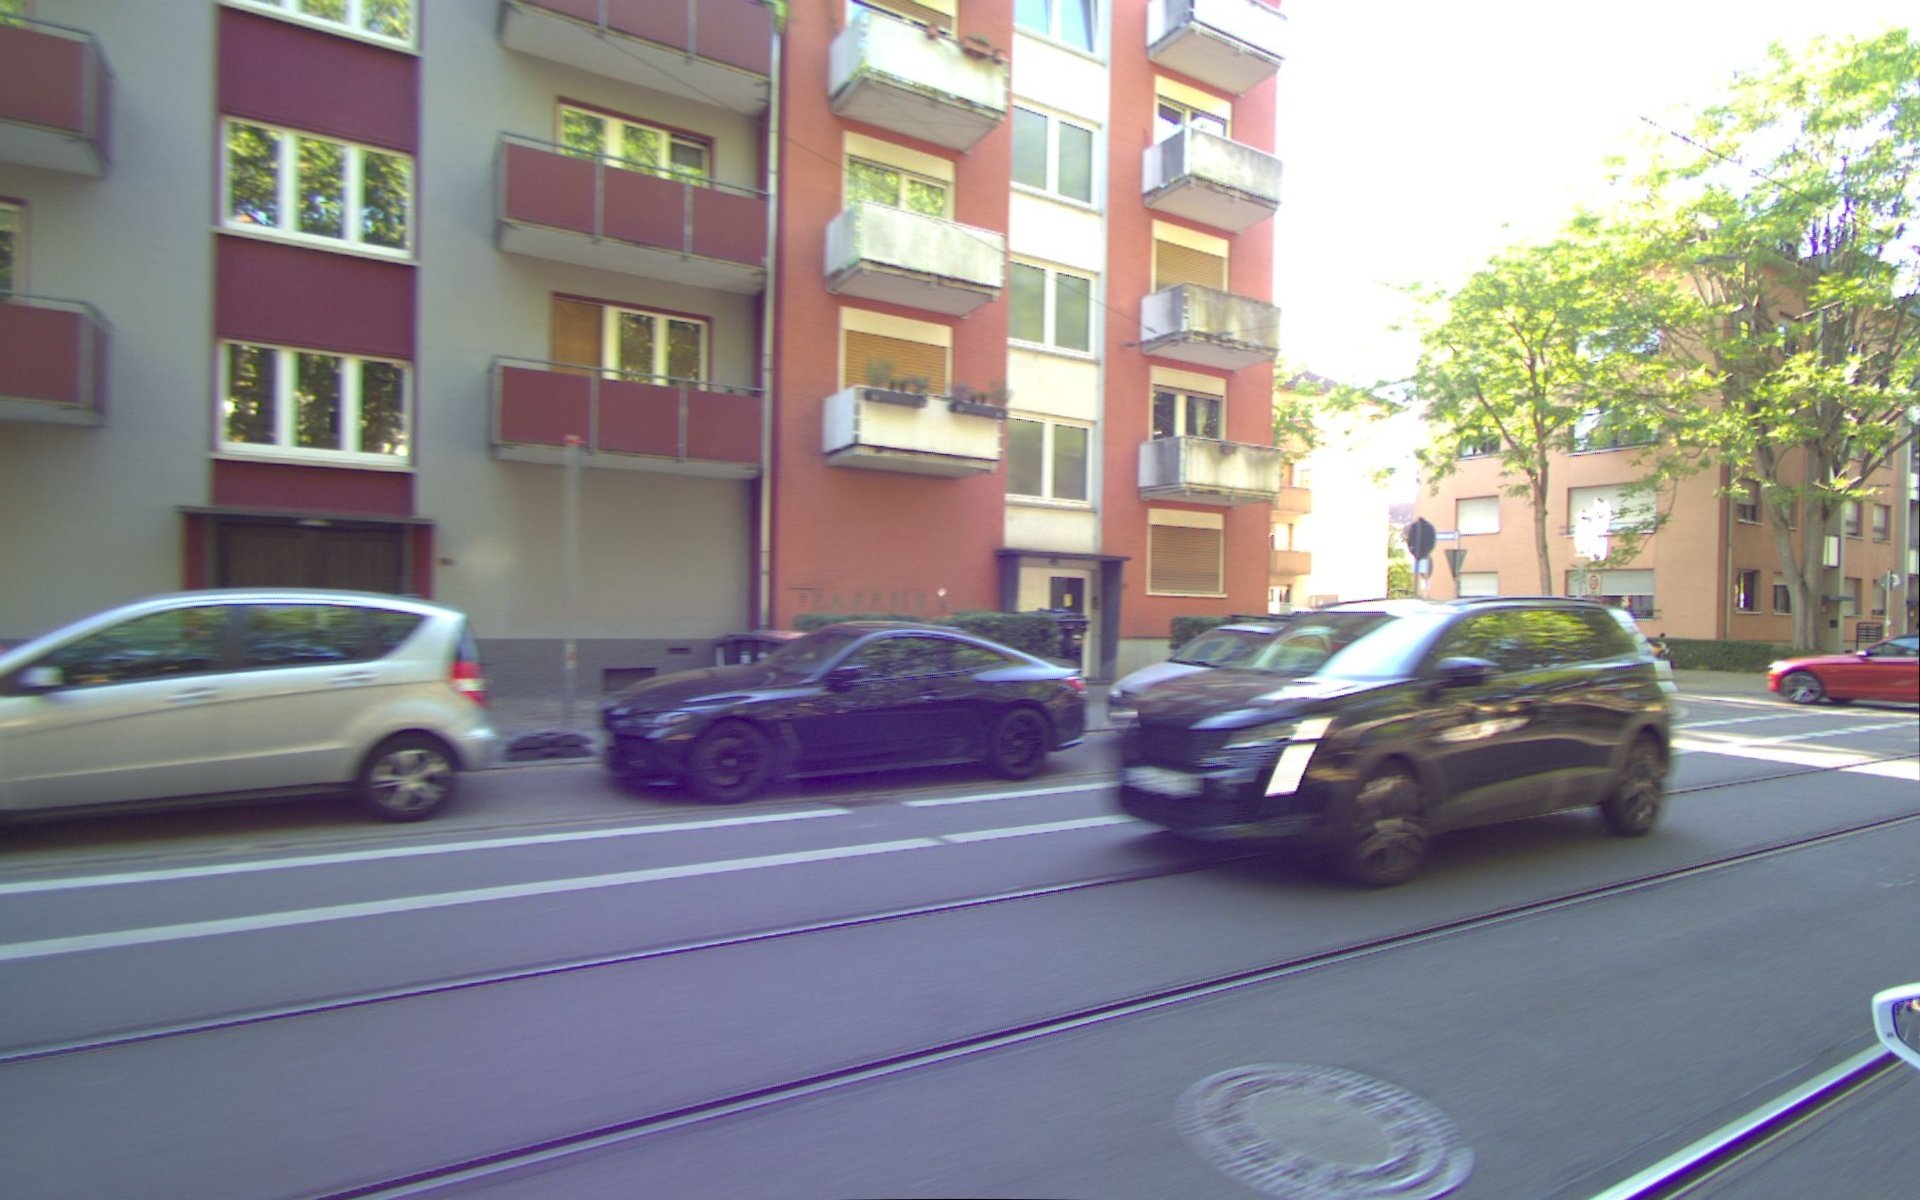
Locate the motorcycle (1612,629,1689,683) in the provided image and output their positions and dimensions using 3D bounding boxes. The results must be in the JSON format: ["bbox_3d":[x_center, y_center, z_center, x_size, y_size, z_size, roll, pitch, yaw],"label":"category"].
[{"bbox_3d":[18.518,1.481,26.909,2.323,1.298,0.897,-1,1,-33],"label":"motorcycle"}]

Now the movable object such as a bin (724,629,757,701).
[{"bbox_3d":[-3.160,0.926,14.445,0.347,1.019,0.398,1,0,-29],"label":"movable object such as a bin"}]

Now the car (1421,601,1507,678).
[{"bbox_3d":[15.710,1.181,31.188,1.965,2.151,4.713,2,0,31],"label":"car"}]

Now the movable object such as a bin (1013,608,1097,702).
[{"bbox_3d":[1.464,0.829,15.632,0.738,1.383,1.206,1,-1,-29],"label":"movable object such as a bin"}]

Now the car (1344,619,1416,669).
[{"bbox_3d":[14.061,1.419,33.548,1.723,1.538,3.608,1,-1,31],"label":"car"}]

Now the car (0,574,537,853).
[{"bbox_3d":[-5.280,0.666,7.113,3.962,1.608,1.809,1,1,-33],"label":"car"}]

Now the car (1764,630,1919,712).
[{"bbox_3d":[17.540,1.317,18.264,1.775,1.407,4.211,6,-4,-25],"label":"car"}]

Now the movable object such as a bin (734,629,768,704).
[{"bbox_3d":[-2.933,0.919,14.077,0.347,1.019,0.430,1,0,-29],"label":"movable object such as a bin"}]

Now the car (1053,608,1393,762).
[{"bbox_3d":[3.205,0.922,12.064,3.886,1.503,1.715,1,2,-32],"label":"car"}]

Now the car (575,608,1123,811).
[{"bbox_3d":[-0.964,0.879,9.564,4.805,1.414,1.943,1,2,-30],"label":"car"}]

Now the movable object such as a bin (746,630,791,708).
[{"bbox_3d":[-2.604,0.926,13.635,0.436,1.019,0.541,1,-1,-29],"label":"movable object such as a bin"}]

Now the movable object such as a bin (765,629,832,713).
[{"bbox_3d":[-2.131,0.919,13.223,0.712,1.062,0.562,1,-1,-29],"label":"movable object such as a bin"}]

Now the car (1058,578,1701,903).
[{"bbox_3d":[3.009,0.756,6.945,4.412,1.621,1.844,1,-1,-30],"label":"car"}]

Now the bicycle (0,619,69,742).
[{"bbox_3d":[-9.672,0.760,10.116,0.691,1.006,2.276,1,2,-33],"label":"bicycle"}]

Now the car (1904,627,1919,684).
[{"bbox_3d":[27.365,1.548,26.969,4.041,1.498,1.797,2,2,-30],"label":"car"}]
